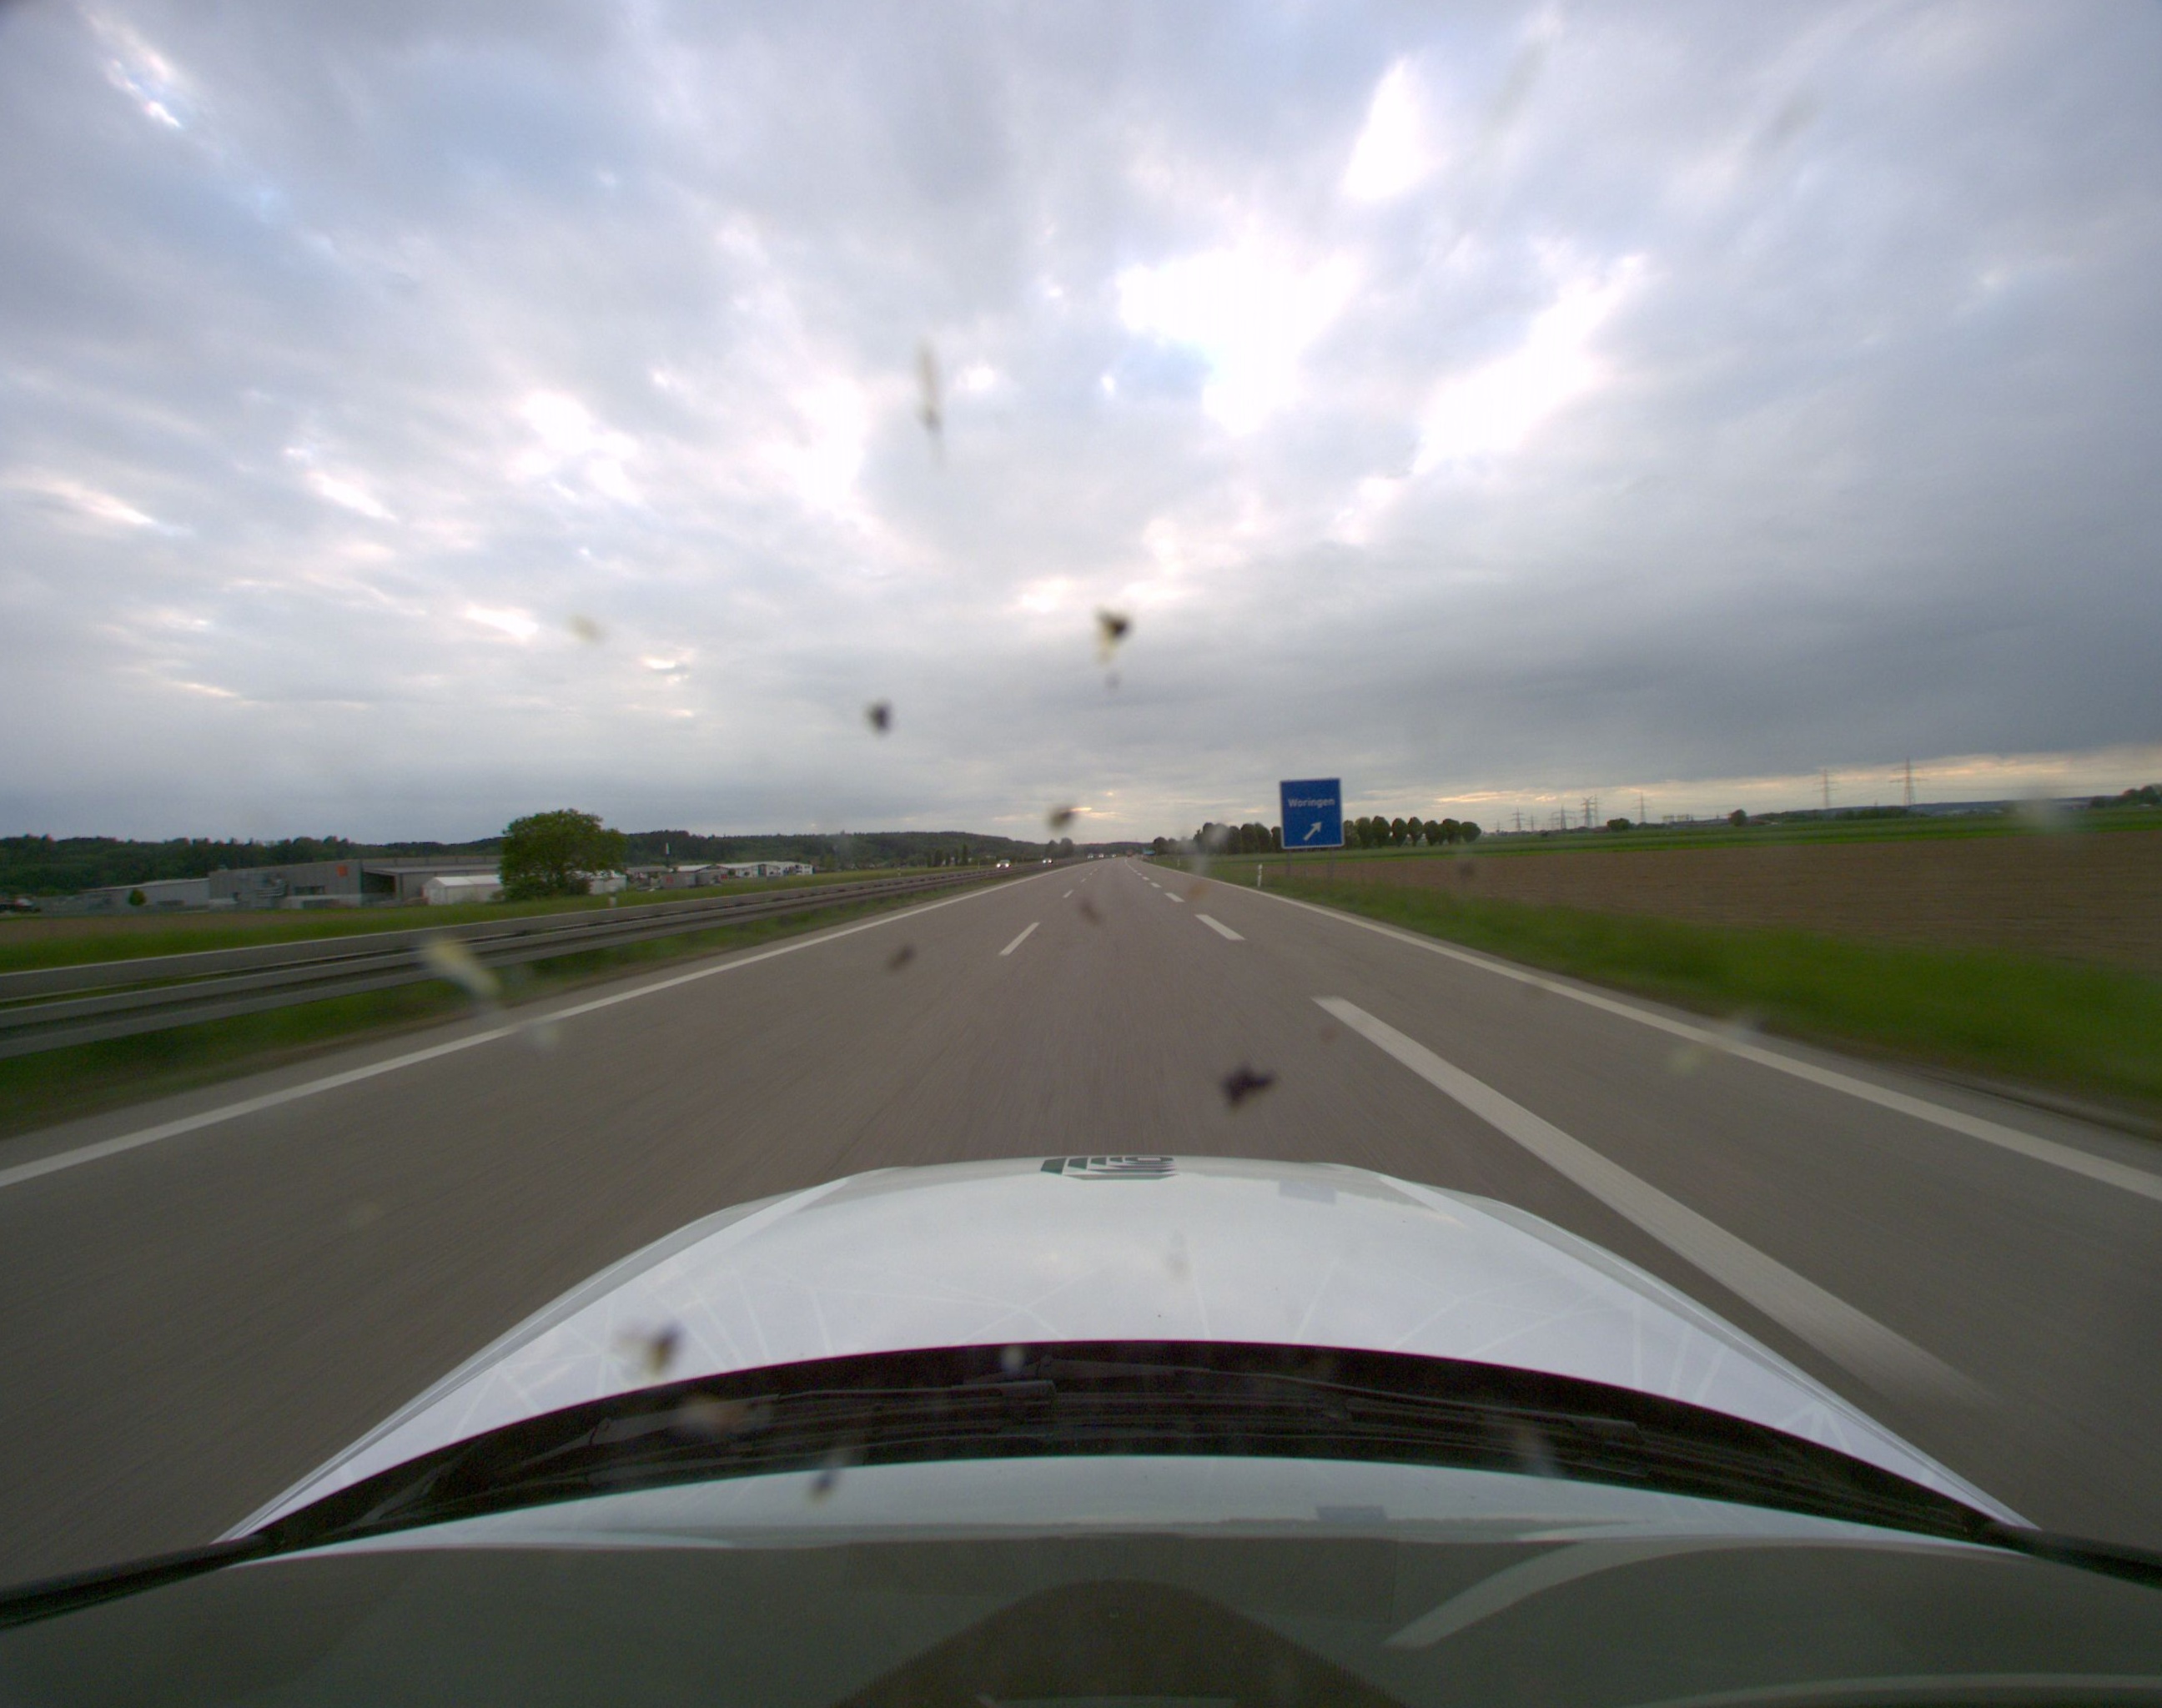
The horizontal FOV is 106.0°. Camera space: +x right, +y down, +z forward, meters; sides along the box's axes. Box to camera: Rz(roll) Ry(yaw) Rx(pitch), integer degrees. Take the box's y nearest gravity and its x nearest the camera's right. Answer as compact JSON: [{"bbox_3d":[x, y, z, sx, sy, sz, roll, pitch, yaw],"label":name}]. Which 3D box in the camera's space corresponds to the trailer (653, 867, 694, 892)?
[{"bbox_3d":[-95.135,6.014,190.064,9.951,5.261,3.778,-4,-2,31],"label":"trailer"}]

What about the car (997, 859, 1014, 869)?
[{"bbox_3d":[-11.670,1.462,126.363,1.986,1.480,4.454,-1,0,2],"label":"car"}]

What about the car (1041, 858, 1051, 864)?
[{"bbox_3d":[-8.595,1.767,200.135,1.986,1.416,4.526,-1,0,2],"label":"car"}]

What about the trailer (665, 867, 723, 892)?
[{"bbox_3d":[-91.881,6.048,193.172,16.814,5.135,3.592,-4,-2,31],"label":"trailer"}]
